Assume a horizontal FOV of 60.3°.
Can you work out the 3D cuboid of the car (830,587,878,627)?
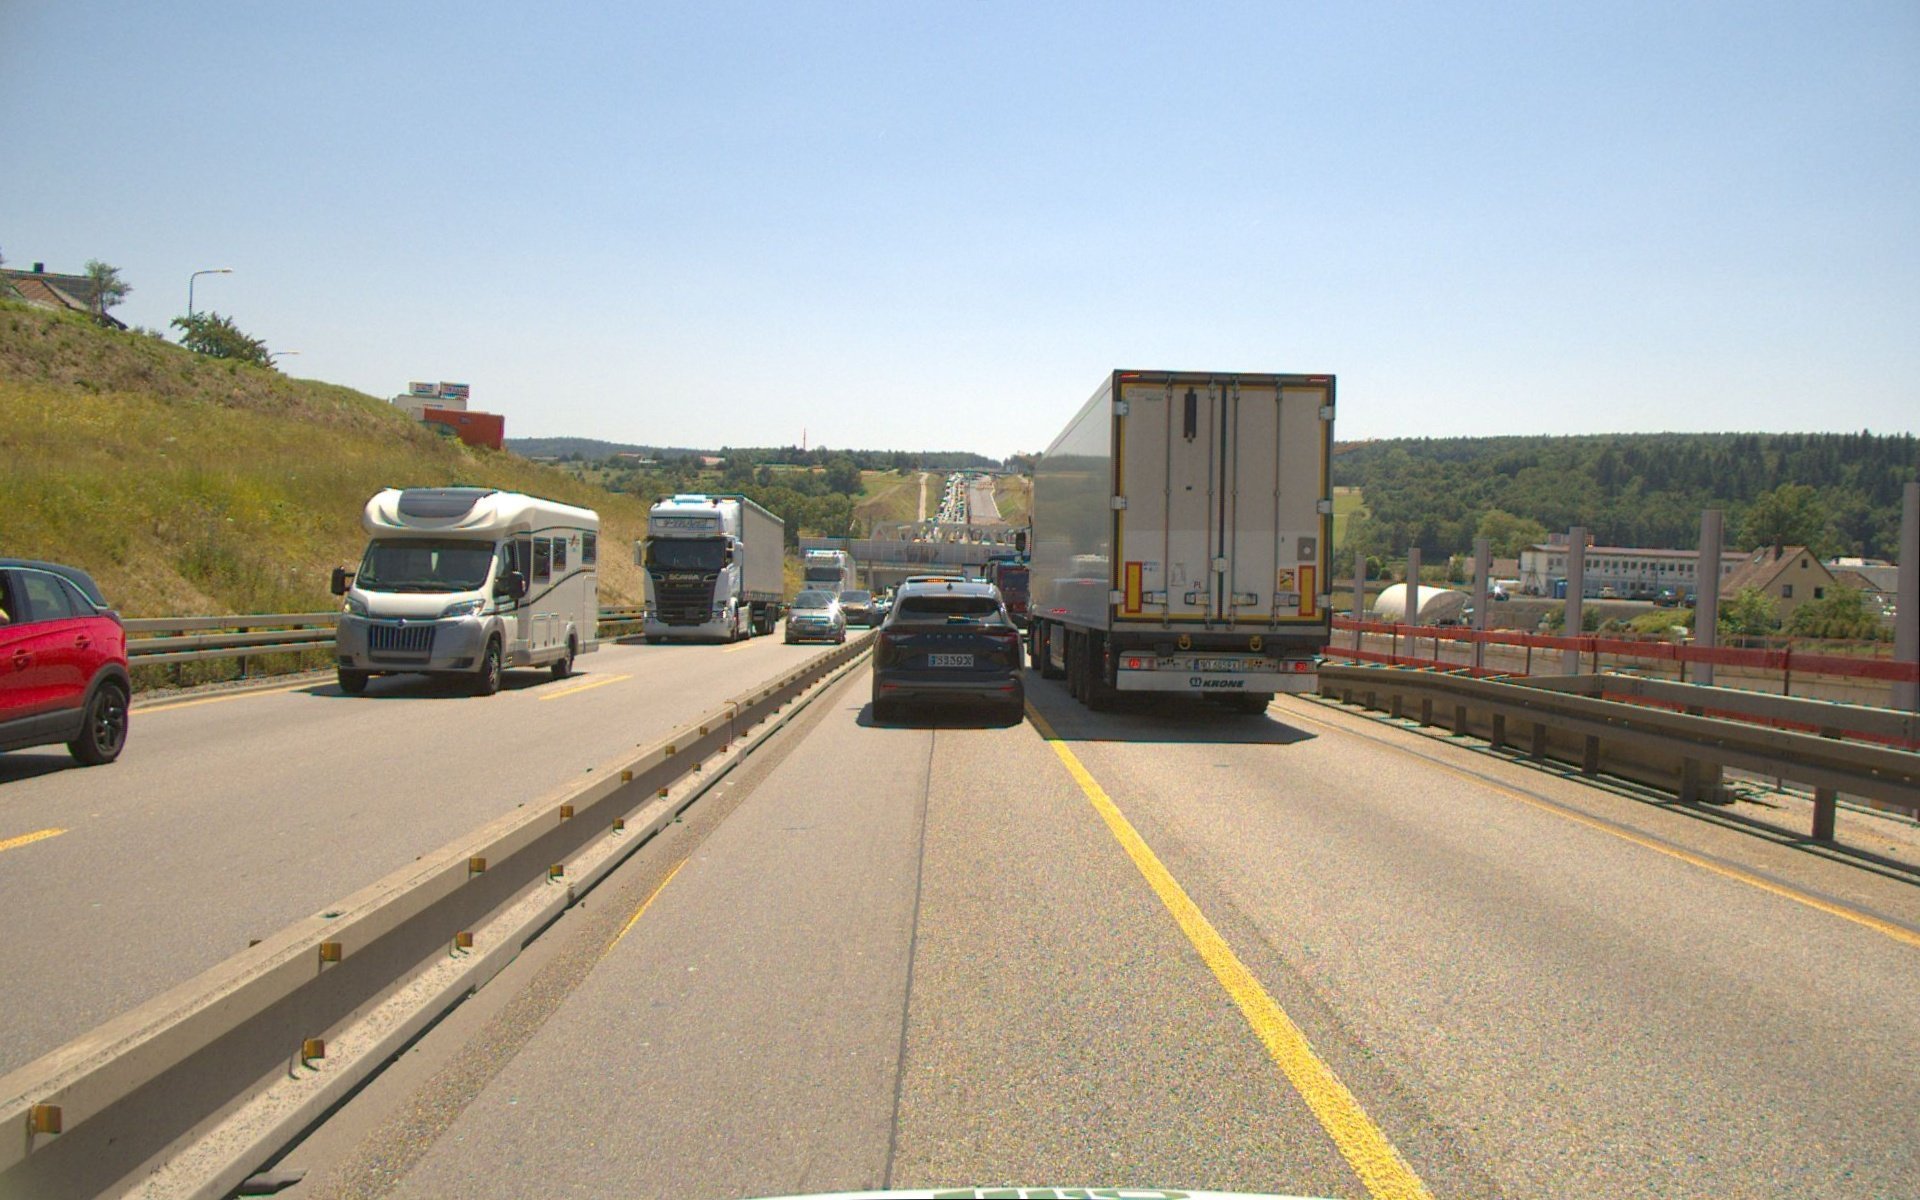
[{"bbox_3d":[-4.487,0.259,70.408,1.811,1.614,4.173,1,0,-1],"label":"car"}]

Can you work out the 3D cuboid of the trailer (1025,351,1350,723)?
[{"bbox_3d":[2.833,-0.662,25.580,2.745,4.129,14.112,1,0,-1],"label":"trailer"}]

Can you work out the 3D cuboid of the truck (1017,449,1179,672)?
[{"bbox_3d":[2.661,-0.714,33.345,2.720,4.129,4.903,1,0,-1],"label":"truck"}]

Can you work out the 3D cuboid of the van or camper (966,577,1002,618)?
[{"bbox_3d":[1.402,-0.169,96.578,1.953,2.283,4.000,2,0,0],"label":"van or camper"}]

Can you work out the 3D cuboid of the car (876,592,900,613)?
[{"bbox_3d":[-5.931,0.182,136.623,1.775,1.666,4.362,1,0,0],"label":"car"}]

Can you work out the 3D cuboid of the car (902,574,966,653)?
[{"bbox_3d":[-0.603,0.308,40.639,1.444,1.826,3.298,2,0,1],"label":"car"}]

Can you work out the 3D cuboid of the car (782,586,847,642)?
[{"bbox_3d":[-4.148,0.380,47.570,1.596,1.505,3.379,1,0,-1],"label":"car"}]

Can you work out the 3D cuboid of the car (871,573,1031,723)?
[{"bbox_3d":[-0.121,0.524,20.100,1.764,1.648,3.297,1,0,-1],"label":"car"}]

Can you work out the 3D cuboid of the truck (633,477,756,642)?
[{"bbox_3d":[-7.409,-1.097,46.709,2.718,4.361,4.675,1,0,-1],"label":"truck"}]

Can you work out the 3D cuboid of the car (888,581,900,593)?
[{"bbox_3d":[-10.195,-2.001,254.872,1.697,1.825,3.579,1,0,-1],"label":"car"}]

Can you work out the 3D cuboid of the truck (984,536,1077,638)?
[{"bbox_3d":[2.329,-0.390,58.962,2.756,3.190,12.836,1,0,0],"label":"truck"}]

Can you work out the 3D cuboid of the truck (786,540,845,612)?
[{"bbox_3d":[-8.729,-1.408,100.281,3.173,4.232,4.246,1,0,-1],"label":"truck"}]

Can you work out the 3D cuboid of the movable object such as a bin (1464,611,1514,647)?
[{"bbox_3d":[35.403,1.918,110.756,1.953,2.278,4.151,1,0,0],"label":"movable object such as a bin"}]

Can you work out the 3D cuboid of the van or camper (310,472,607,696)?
[{"bbox_3d":[-7.223,-0.233,24.948,2.287,2.826,7.515,1,0,-1],"label":"van or camper"}]

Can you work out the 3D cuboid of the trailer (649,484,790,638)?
[{"bbox_3d":[-7.592,-1.148,54.274,2.753,4.361,14.031,1,0,-1],"label":"trailer"}]

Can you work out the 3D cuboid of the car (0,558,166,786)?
[{"bbox_3d":[-7.463,0.484,11.711,1.681,1.579,4.263,1,0,-1],"label":"car"}]

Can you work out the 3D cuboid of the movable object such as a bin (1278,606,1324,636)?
[{"bbox_3d":[35.258,2.140,171.248,2.828,2.960,9.478,1,0,0],"label":"movable object such as a bin"}]

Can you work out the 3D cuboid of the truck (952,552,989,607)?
[{"bbox_3d":[0.773,-1.553,128.640,2.467,4.028,7.598,2,0,-1],"label":"truck"}]
